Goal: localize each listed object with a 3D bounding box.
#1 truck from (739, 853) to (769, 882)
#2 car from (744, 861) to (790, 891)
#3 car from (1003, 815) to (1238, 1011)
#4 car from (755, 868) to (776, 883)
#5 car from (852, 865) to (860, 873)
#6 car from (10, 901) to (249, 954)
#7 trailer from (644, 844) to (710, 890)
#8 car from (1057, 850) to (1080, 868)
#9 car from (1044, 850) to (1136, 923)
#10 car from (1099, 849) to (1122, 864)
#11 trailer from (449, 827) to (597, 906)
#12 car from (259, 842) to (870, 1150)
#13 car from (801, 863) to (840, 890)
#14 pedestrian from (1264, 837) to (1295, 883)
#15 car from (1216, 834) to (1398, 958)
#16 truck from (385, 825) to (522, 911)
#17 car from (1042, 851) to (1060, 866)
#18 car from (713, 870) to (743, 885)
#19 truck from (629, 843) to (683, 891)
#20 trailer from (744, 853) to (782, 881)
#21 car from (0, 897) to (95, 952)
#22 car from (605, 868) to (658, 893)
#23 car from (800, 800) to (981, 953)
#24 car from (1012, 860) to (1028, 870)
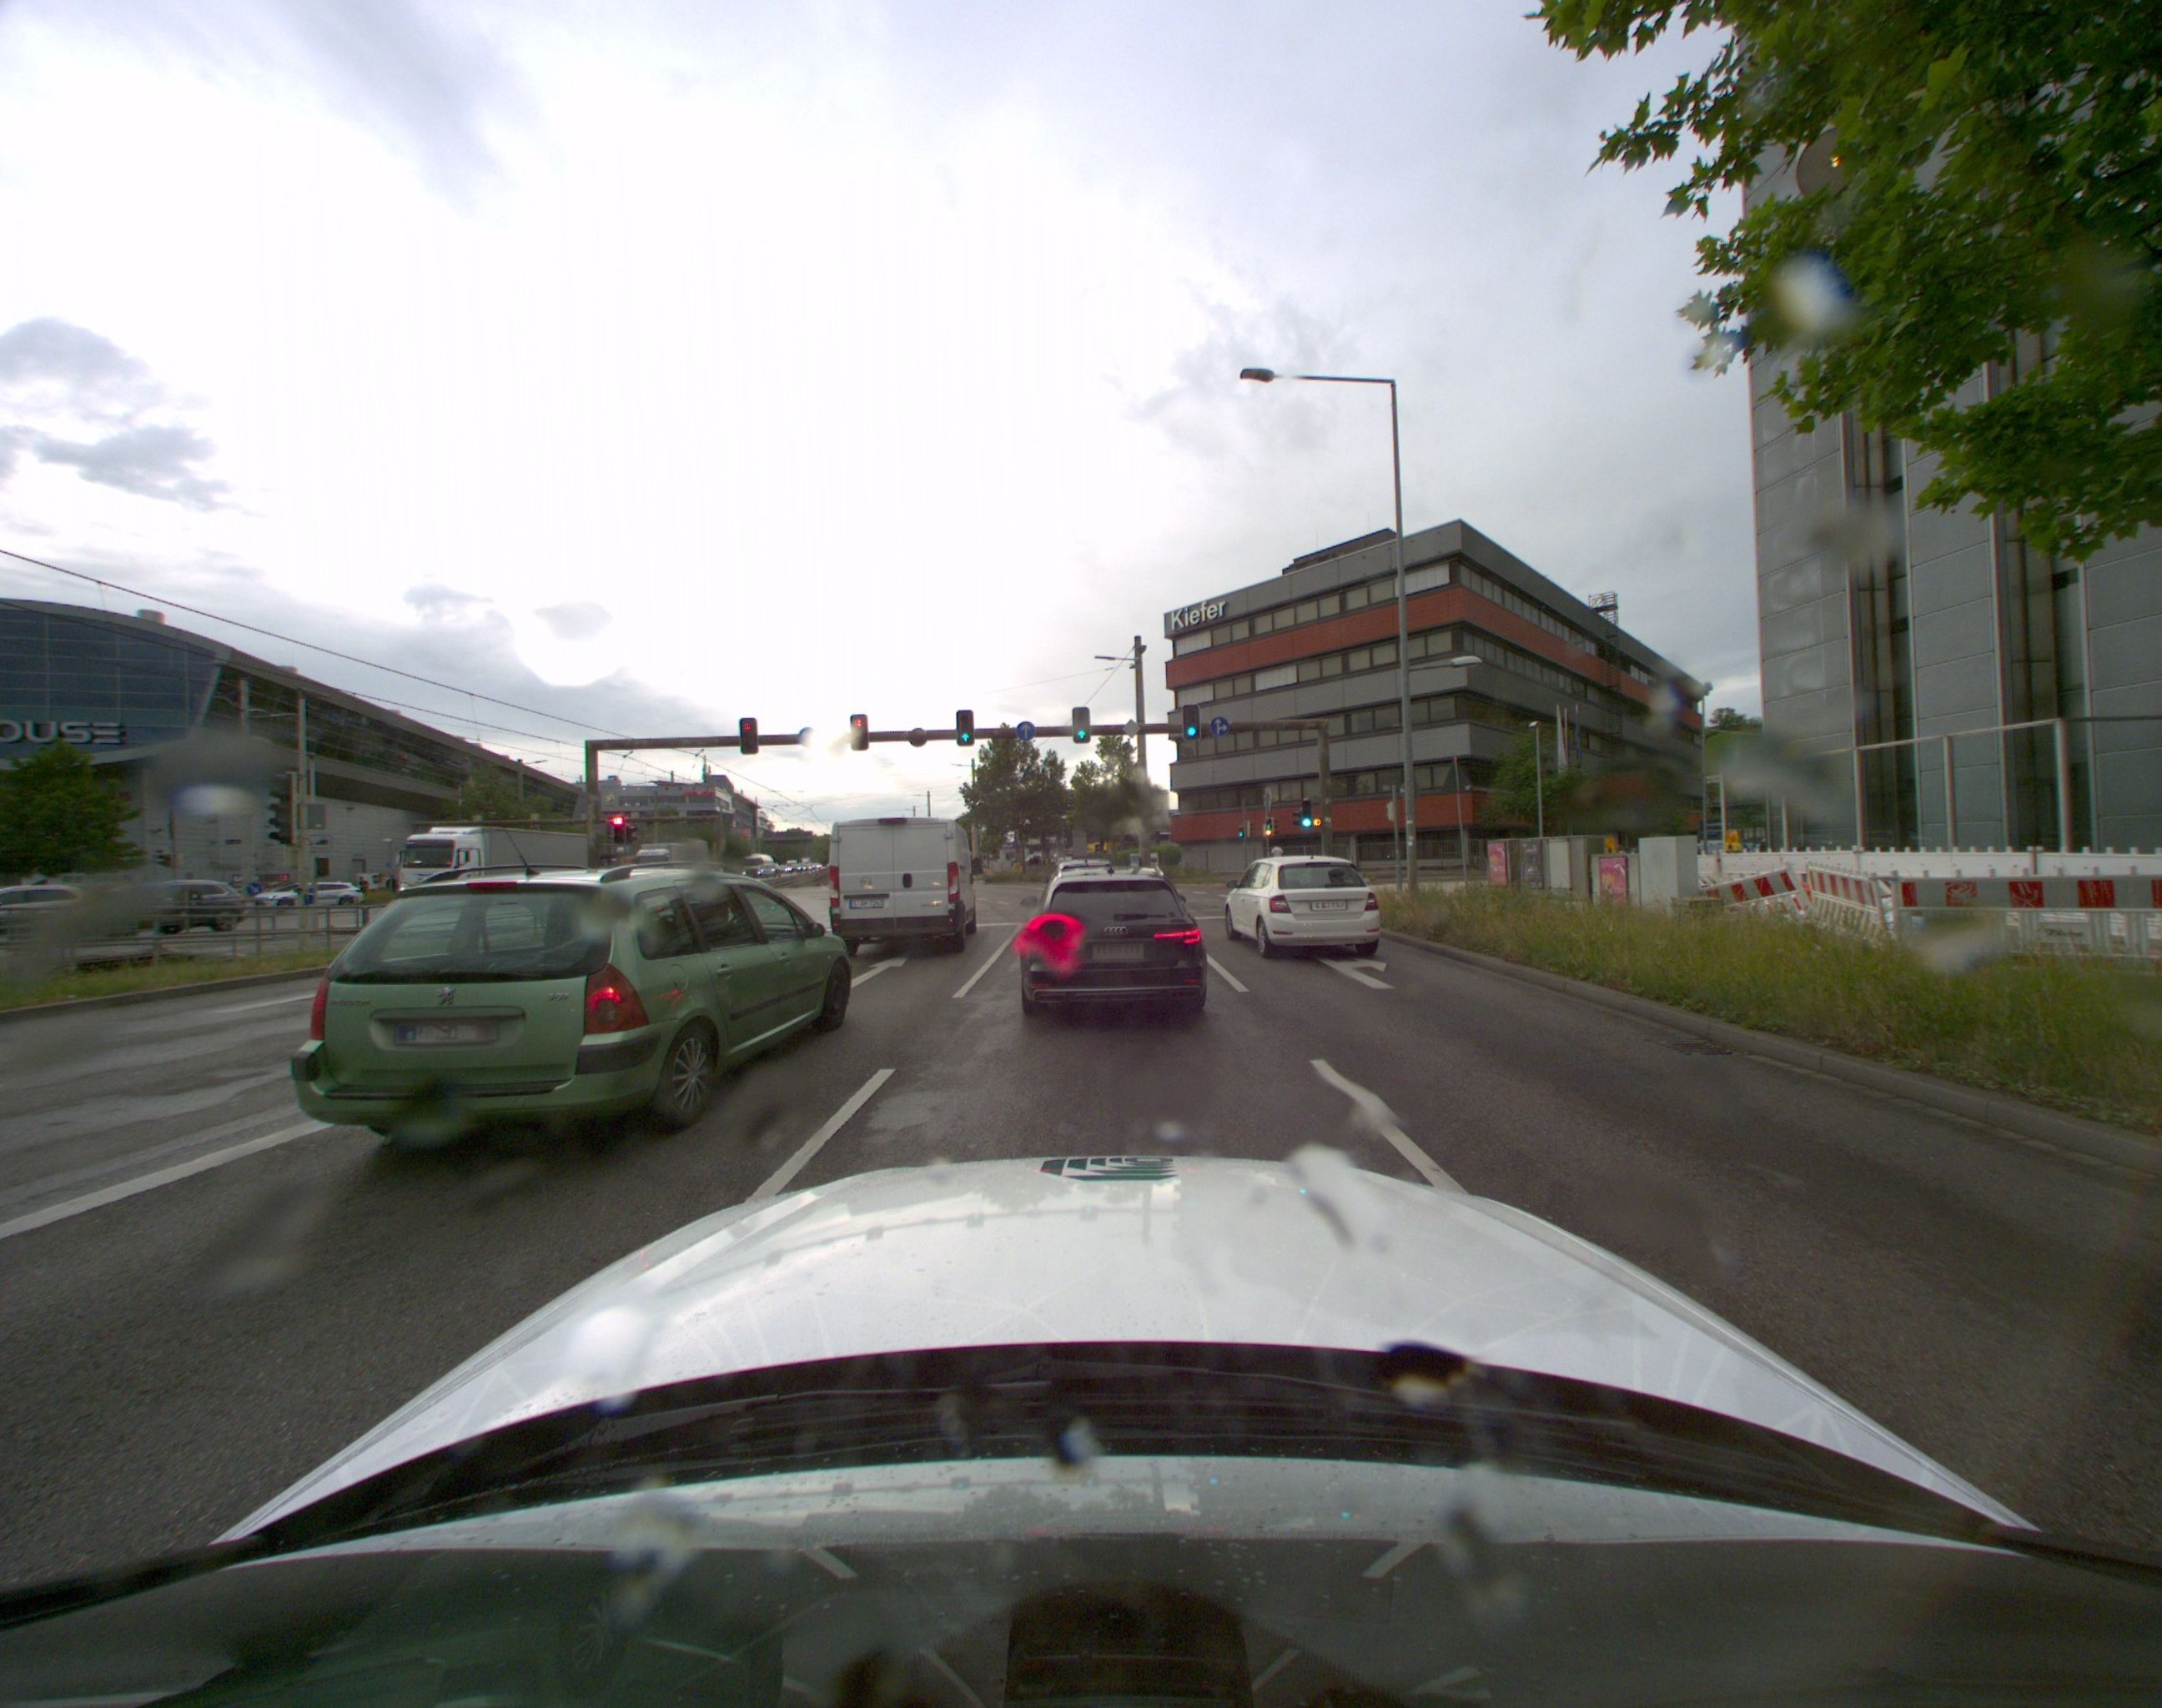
[{"bbox_3d":[-46.193,1.891,115.160,2.747,3.805,5.390,-3,-1,-11],"label":"truck"},{"bbox_3d":[-22.953,1.572,59.650,1.768,2.013,4.344,0,0,-2],"label":"car"},{"bbox_3d":[0.407,0.551,9.051,1.986,1.637,4.001,-2,-1,2],"label":"car"},{"bbox_3d":[-42.884,2.896,110.849,1.995,1.837,4.887,1,1,-13],"label":"car"},{"bbox_3d":[-59.469,4.005,215.619,1.775,2.014,4.327,1,-1,-13],"label":"car"},{"bbox_3d":[-27.737,2.106,24.027,1.903,1.264,4.410,0,-1,-2],"label":"car"},{"bbox_3d":[-40.403,1.330,81.929,2.651,4.125,12.693,-2,-1,-11],"label":"trailer"},{"bbox_3d":[-1.610,0.634,101.150,1.996,2.032,3.982,-3,0,-13],"label":"car"},{"bbox_3d":[0.117,0.721,18.977,1.889,1.465,3.905,-1,-1,-2],"label":"car"},{"bbox_3d":[4.085,0.383,113.223,1.876,2.014,3.749,1,-1,-19],"label":"car"},{"bbox_3d":[-33.272,0.691,49.344,2.795,4.107,11.403,-2,0,-10],"label":"trailer"},{"bbox_3d":[-3.044,0.724,6.113,1.689,1.468,4.403,0,-1,1],"label":"car"},{"bbox_3d":[-20.415,1.708,64.014,1.768,2.014,4.344,0,0,-2],"label":"car"},{"bbox_3d":[9.501,0.290,39.045,1.139,2.125,1.223,-3,1,1],"label":"pedestrian"},{"bbox_3d":[3.402,0.612,13.074,1.823,1.656,4.000,-1,-1,0],"label":"car"},{"bbox_3d":[-32.073,0.666,41.971,2.830,3.996,5.971,-2,0,-8],"label":"truck"},{"bbox_3d":[-4.094,0.611,110.014,1.681,2.014,3.524,1,-1,-14],"label":"car"},{"bbox_3d":[-38.045,2.478,87.846,1.903,1.555,4.549,0,-1,-10],"label":"car"},{"bbox_3d":[-39.016,1.191,74.910,2.668,4.130,6.161,-2,-1,-11],"label":"truck"},{"bbox_3d":[-47.166,1.990,121.088,2.724,3.854,11.191,-3,-1,-9],"label":"trailer"},{"bbox_3d":[-30.815,1.982,22.693,1.736,1.462,4.145,0,-1,-5],"label":"car"},{"bbox_3d":[-31.085,1.793,56.473,1.887,1.652,4.082,1,-1,-9],"label":"car"},{"bbox_3d":[-3.179,0.395,14.796,2.441,2.294,4.896,0,-1,-4],"label":"car"},{"bbox_3d":[-9.943,1.824,132.863,1.795,1.591,3.978,-2,0,-16],"label":"car"}]
